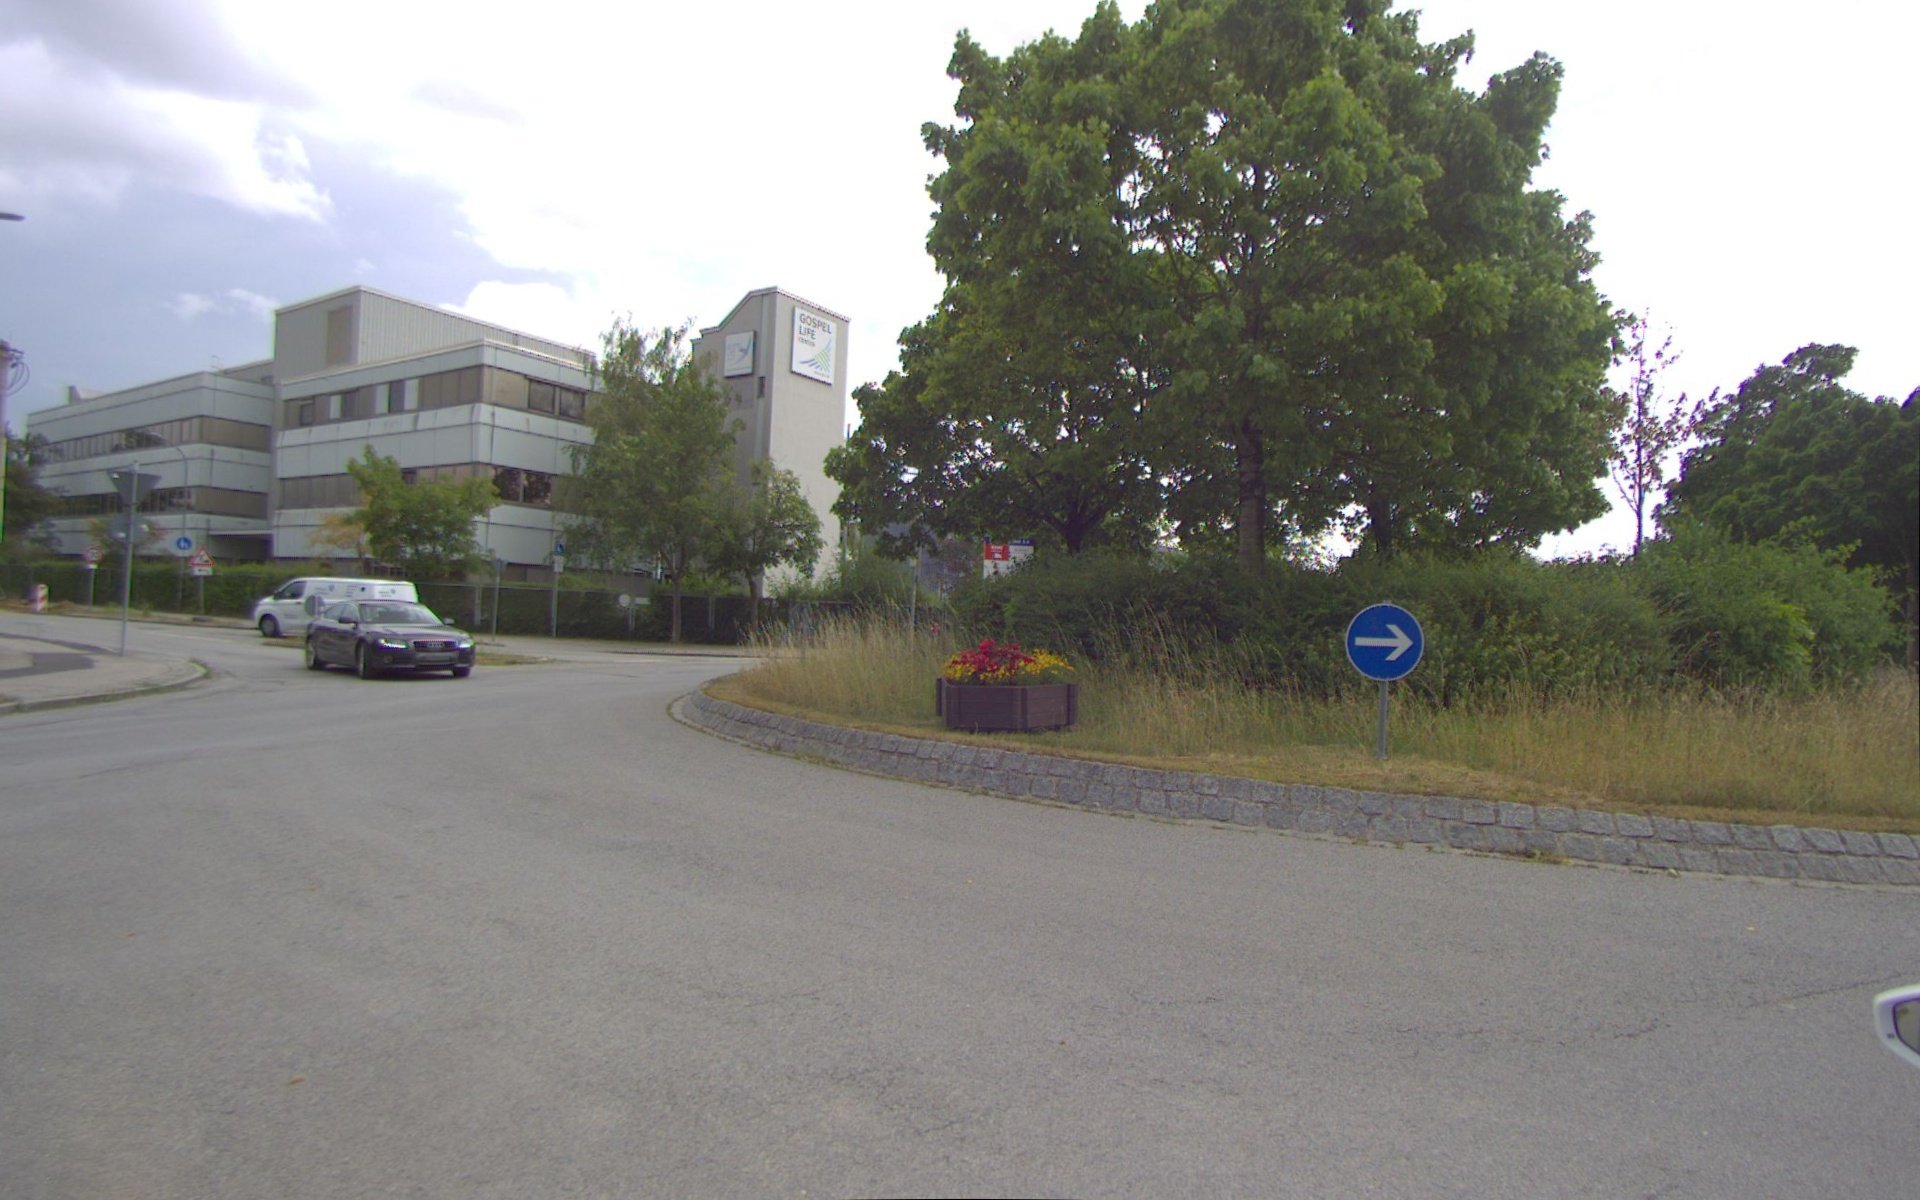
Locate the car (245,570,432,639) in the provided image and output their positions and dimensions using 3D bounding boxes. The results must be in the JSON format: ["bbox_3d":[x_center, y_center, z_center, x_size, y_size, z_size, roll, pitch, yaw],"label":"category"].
[{"bbox_3d":[-19.354,0.136,31.349,4.969,1.930,2.001,2,-1,14],"label":"car"}]

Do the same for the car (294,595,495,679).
[{"bbox_3d":[-10.775,0.649,19.006,4.404,1.365,1.927,1,-1,41],"label":"car"}]
